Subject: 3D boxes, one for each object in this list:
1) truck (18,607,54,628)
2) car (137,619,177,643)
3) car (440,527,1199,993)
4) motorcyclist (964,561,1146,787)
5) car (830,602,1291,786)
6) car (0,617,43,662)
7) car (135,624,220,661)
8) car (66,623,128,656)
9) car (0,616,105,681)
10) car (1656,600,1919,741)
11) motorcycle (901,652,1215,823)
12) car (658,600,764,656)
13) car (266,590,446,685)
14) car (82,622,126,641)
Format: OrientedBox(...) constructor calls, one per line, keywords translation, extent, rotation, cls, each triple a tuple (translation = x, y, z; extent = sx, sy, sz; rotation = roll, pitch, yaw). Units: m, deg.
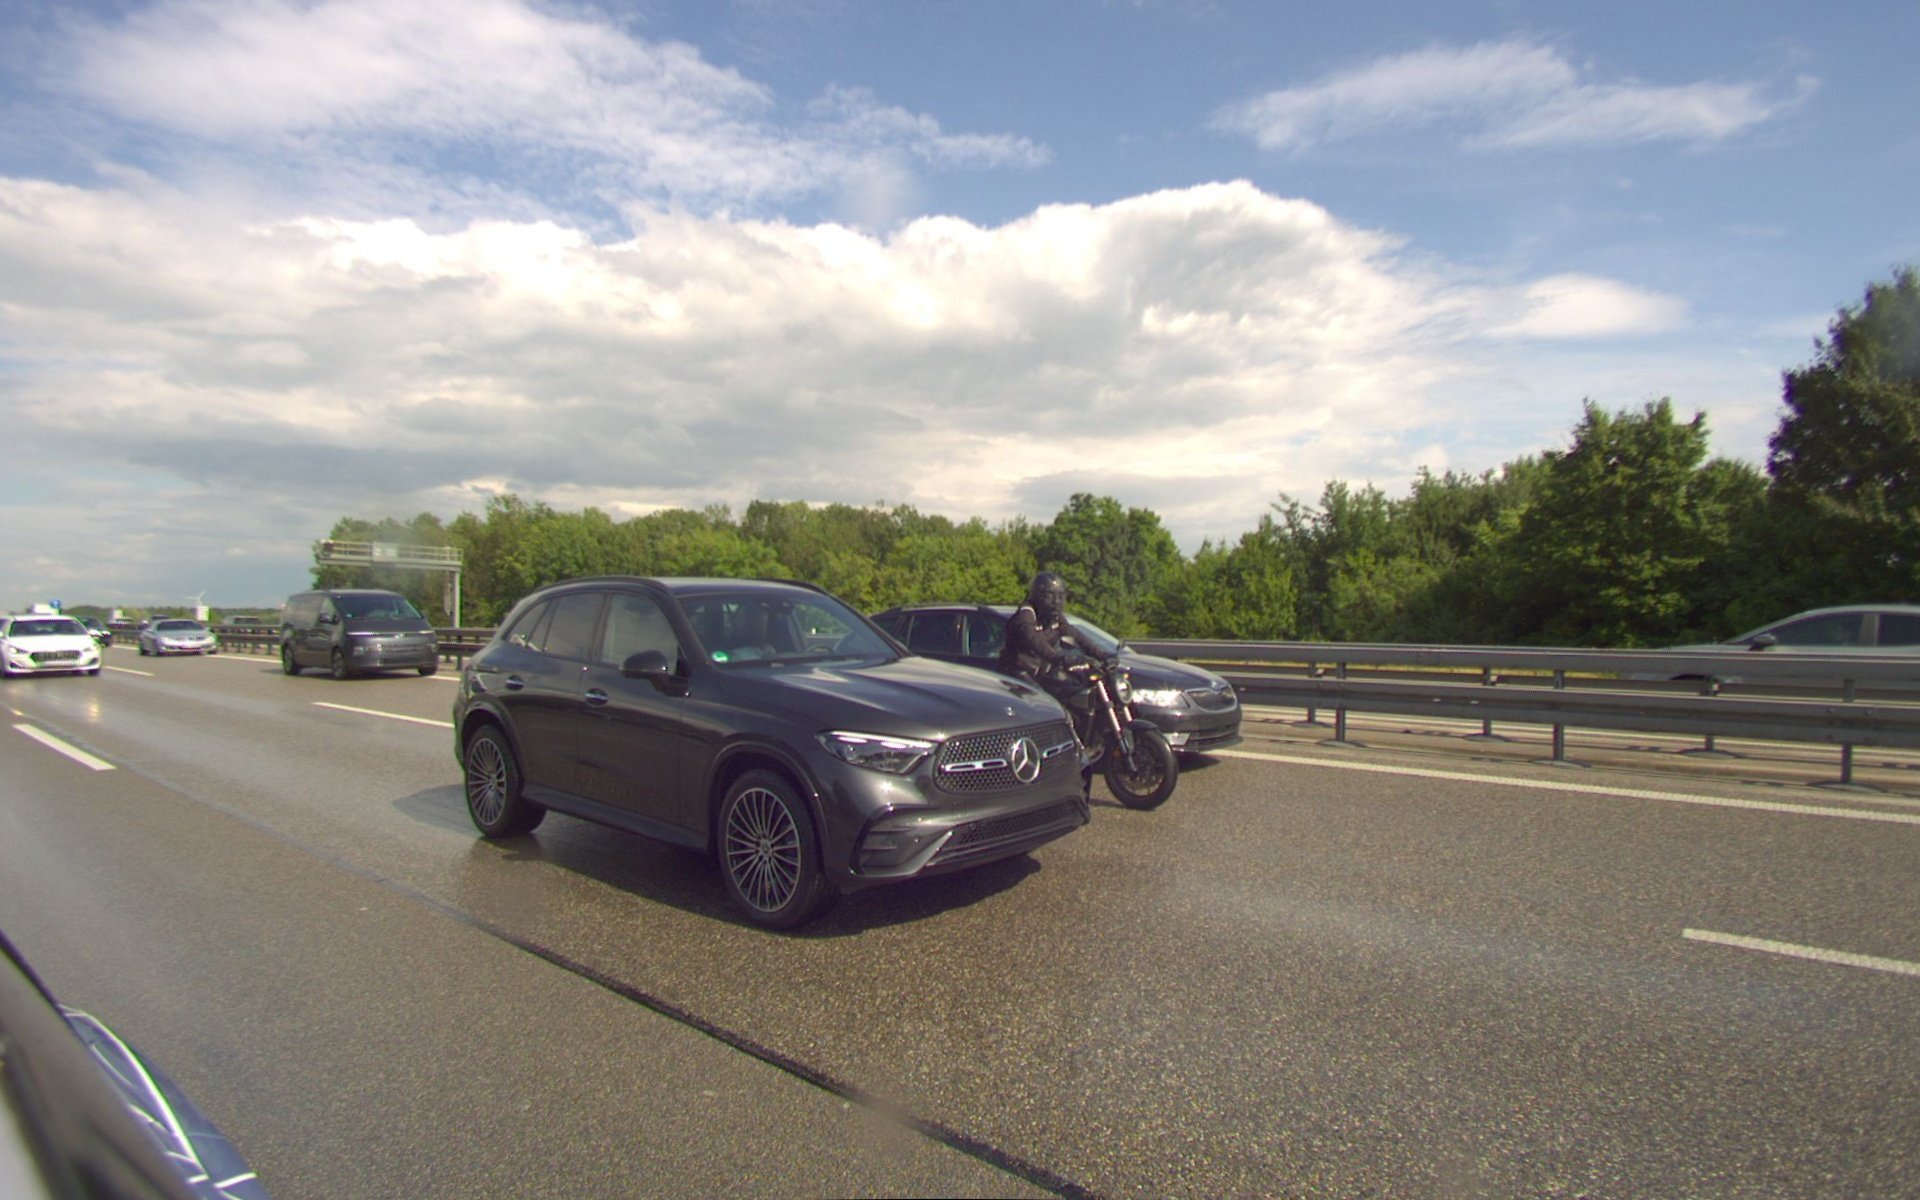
OrientedBox(translation=(-133.980, 2.493, 146.700), extent=(8.717, 3.009, 2.886), rotation=(-1, 0, 41), cls="truck")
OrientedBox(translation=(-71.337, 2.723, 89.892), extent=(5.074, 2.029, 1.832), rotation=(-1, 0, 40), cls="car")
OrientedBox(translation=(-1.142, 0.611, 5.924), extent=(4.625, 1.692, 1.856), rotation=(-1, -1, 42), cls="car")
OrientedBox(translation=(0.707, 0.512, 7.577), extent=(1.092, 1.549, 0.787), rotation=(-1, -1, 40), cls="motorcyclist")
OrientedBox(translation=(0.816, 0.760, 10.138), extent=(4.374, 1.435, 1.898), rotation=(-1, -1, 44), cls="car")
OrientedBox(translation=(-31.845, 1.290, 33.598), extent=(3.997, 1.408, 1.577), rotation=(-1, -1, 41), cls="car")
OrientedBox(translation=(-27.675, 1.453, 35.752), extent=(3.583, 1.198, 1.832), rotation=(-1, -1, 43), cls="car")
OrientedBox(translation=(-39.445, 1.765, 46.238), extent=(3.998, 1.431, 1.597), rotation=(-1, -1, 41), cls="car")
OrientedBox(translation=(-22.144, 1.106, 24.387), extent=(4.239, 1.408, 1.785), rotation=(-1, -1, 42), cls="car")
OrientedBox(translation=(10.205, 0.737, 11.510), extent=(3.630, 1.462, 1.826), rotation=(-1, -1, 40), cls="car")
OrientedBox(translation=(0.654, 0.942, 7.599), extent=(2.387, 1.035, 0.683), rotation=(-1, -1, 41), cls="motorcycle")
OrientedBox(translation=(-9.709, 1.043, 39.249), extent=(4.364, 2.029, 1.971), rotation=(-1, -1, 44), cls="car")
OrientedBox(translation=(-13.843, 0.796, 23.059), extent=(5.232, 1.932, 1.973), rotation=(-1, -1, 41), cls="car")
OrientedBox(translation=(-66.419, 2.431, 78.513), extent=(3.995, 1.401, 1.844), rotation=(-1, 0, 39), cls="car")
